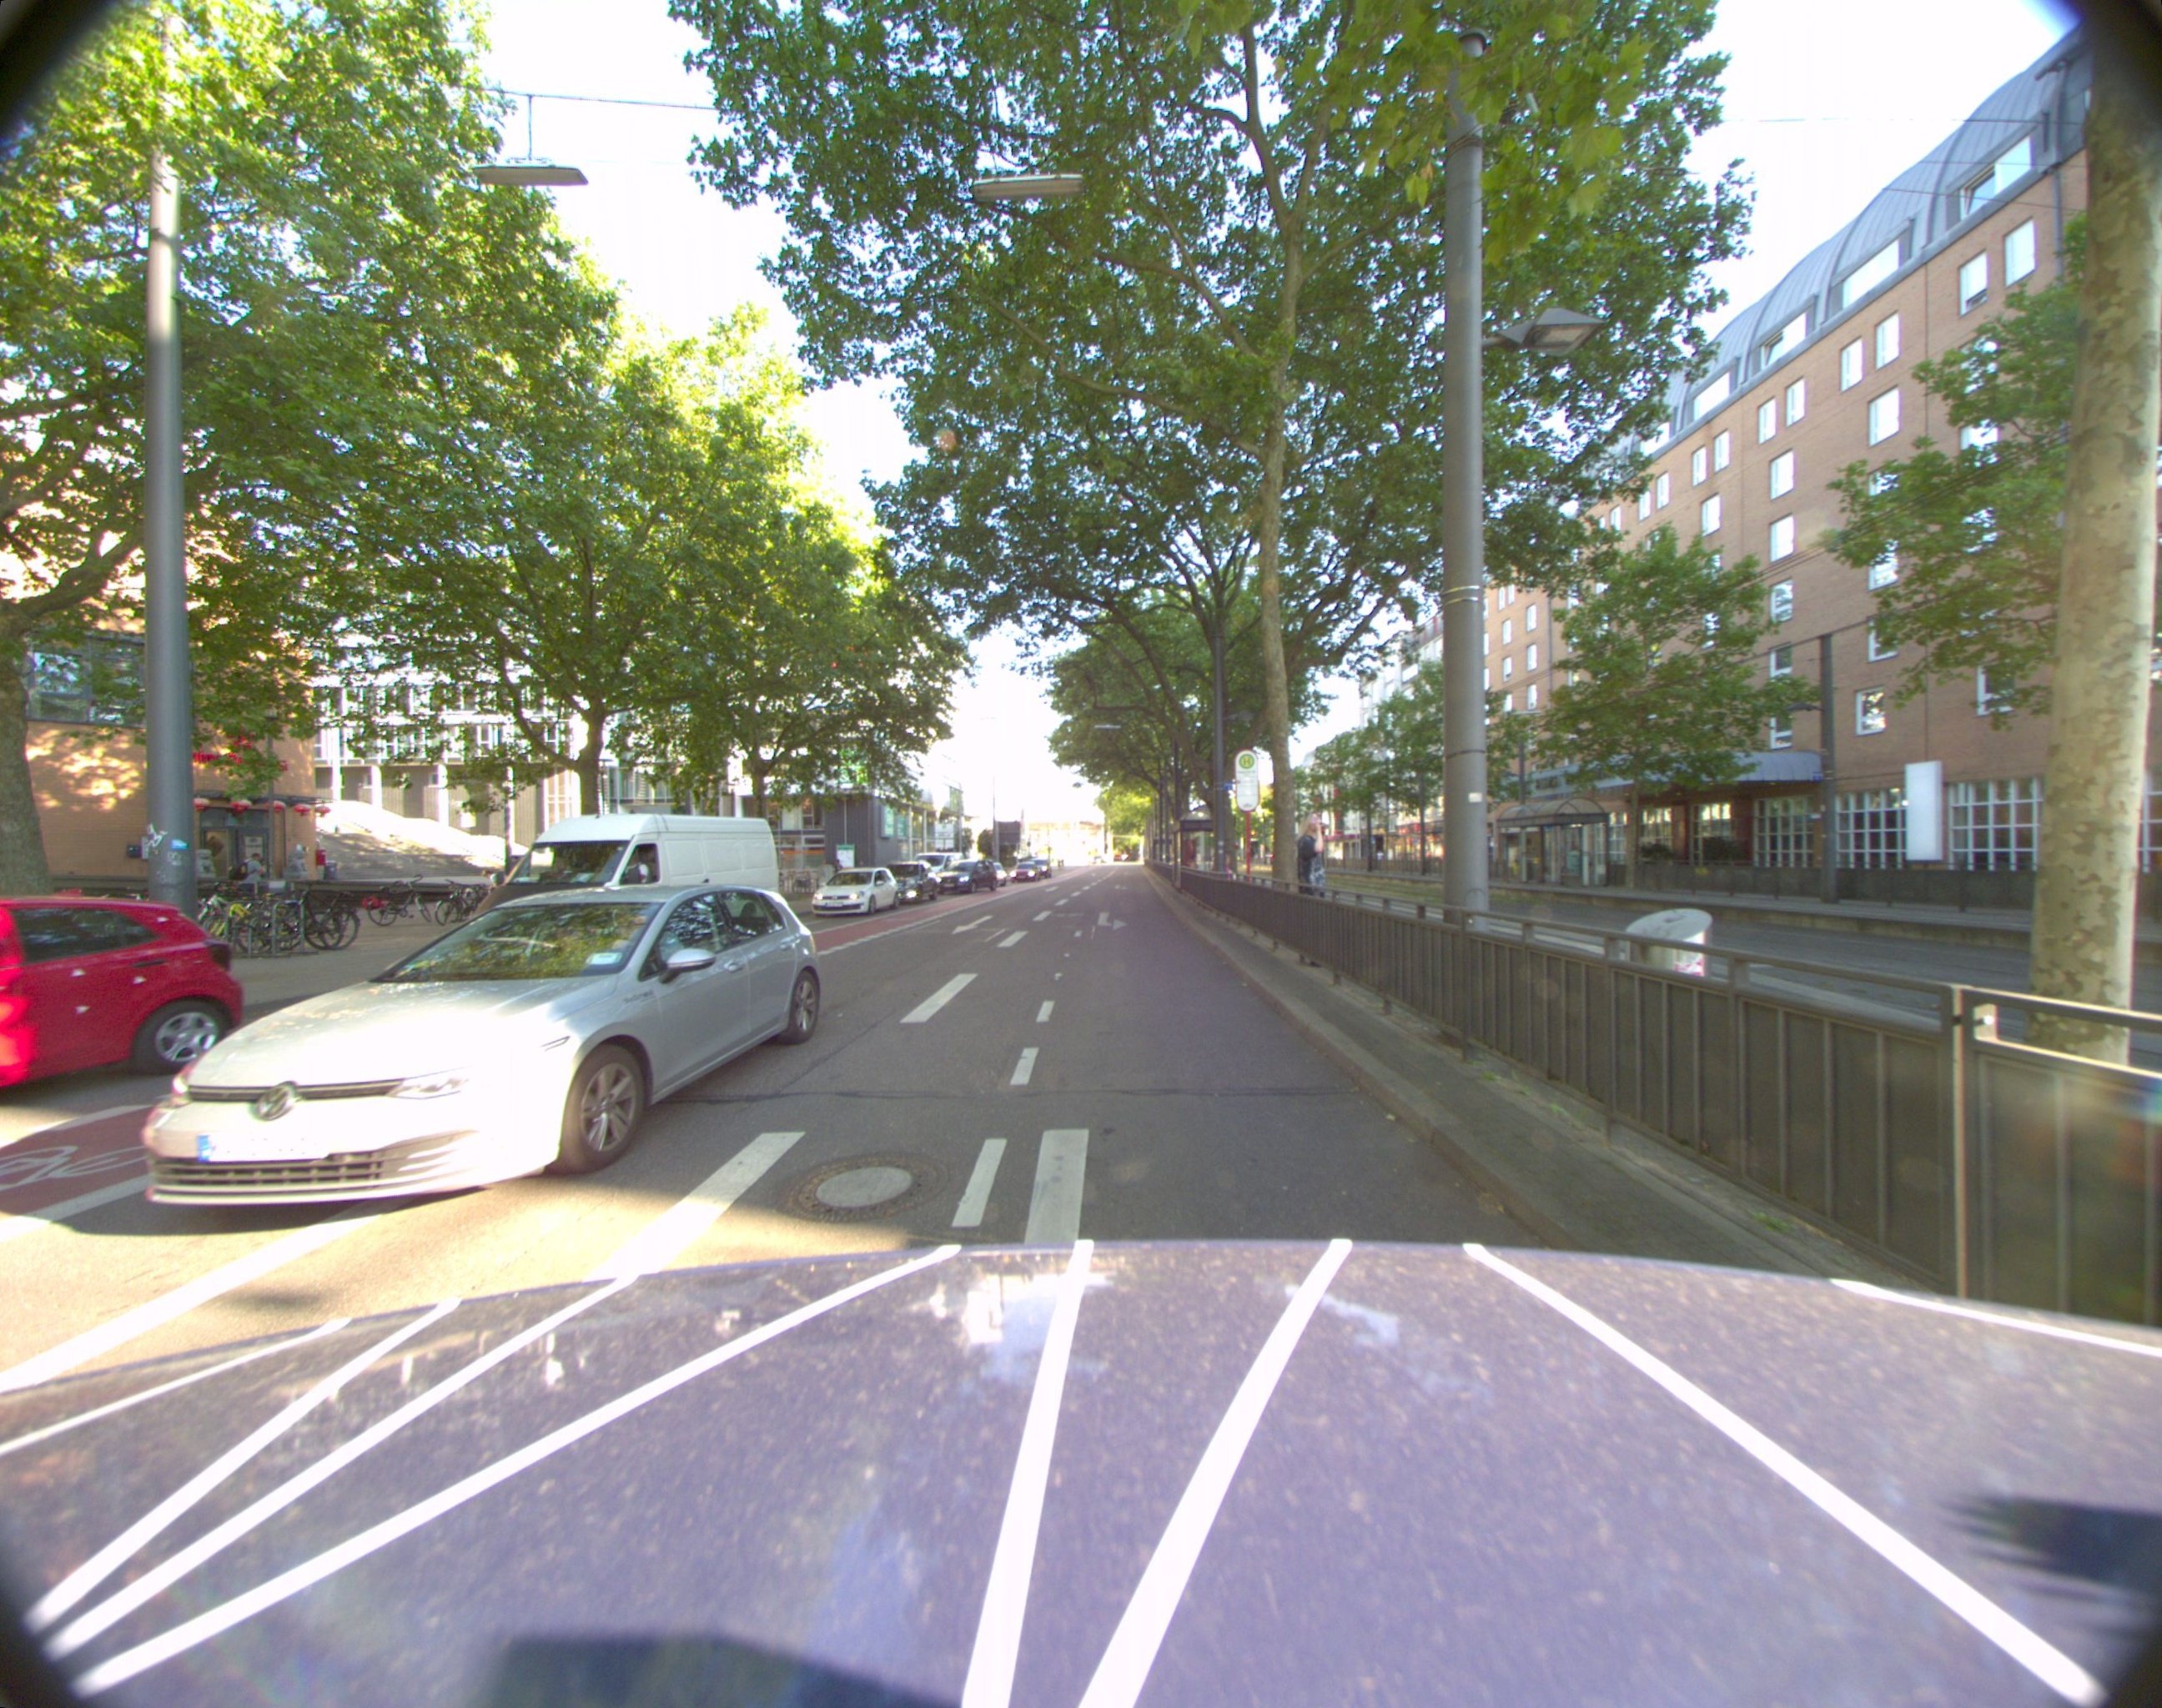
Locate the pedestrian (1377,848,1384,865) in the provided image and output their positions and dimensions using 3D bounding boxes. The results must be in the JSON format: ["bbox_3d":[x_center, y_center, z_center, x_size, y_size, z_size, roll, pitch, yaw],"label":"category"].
[{"bbox_3d":[30.932,0.292,78.373,0.504,1.725,0.574,-1,1,3],"label":"pedestrian"}]

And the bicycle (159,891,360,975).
[{"bbox_3d":[-14.058,1.306,13.142,0.751,1.155,2.398,-2,1,2],"label":"bicycle"}]

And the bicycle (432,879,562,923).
[{"bbox_3d":[-16.196,1.281,21.092,3.328,1.077,1.150,0,1,18],"label":"bicycle"}]

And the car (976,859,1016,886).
[{"bbox_3d":[-5.173,1.097,46.994,1.835,1.481,4.195,-2,0,2],"label":"car"}]

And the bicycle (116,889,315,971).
[{"bbox_3d":[-14.841,1.257,13.162,0.671,1.155,2.305,-2,1,3],"label":"bicycle"}]

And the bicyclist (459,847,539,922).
[{"bbox_3d":[-16.103,0.814,21.051,1.296,2.002,1.158,-1,1,17],"label":"bicyclist"}]

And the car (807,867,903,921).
[{"bbox_3d":[-7.050,1.203,24.116,1.639,1.420,3.987,-2,0,3],"label":"car"}]

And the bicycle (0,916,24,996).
[{"bbox_3d":[-14.230,1.337,8.107,1.050,0.996,3.412,-2,1,1],"label":"bicycle"}]

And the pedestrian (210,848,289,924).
[{"bbox_3d":[-23.078,0.871,21.105,1.013,2.002,1.016,-2,1,12],"label":"pedestrian"}]

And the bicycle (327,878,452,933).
[{"bbox_3d":[-17.843,1.294,19.715,0.699,1.193,2.700,-2,1,1],"label":"bicycle"}]

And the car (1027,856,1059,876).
[{"bbox_3d":[-3.138,1.001,63.641,1.784,1.481,4.198,-3,0,10],"label":"car"}]

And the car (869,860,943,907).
[{"bbox_3d":[-6.735,1.083,29.748,1.769,1.626,4.250,-2,0,1],"label":"car"}]

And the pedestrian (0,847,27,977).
[{"bbox_3d":[-17.077,0.895,11.463,0.934,2.002,1.091,-1,1,-25],"label":"pedestrian"}]

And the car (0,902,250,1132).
[{"bbox_3d":[-8.042,1.169,4.825,1.494,1.451,3.597,-2,0,1],"label":"car"}]

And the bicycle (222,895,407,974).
[{"bbox_3d":[-12.863,1.305,12.893,0.682,1.054,2.337,-1,1,2],"label":"bicycle"}]

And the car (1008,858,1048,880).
[{"bbox_3d":[-3.847,1.077,55.812,1.834,1.481,4.198,-3,0,10],"label":"car"}]

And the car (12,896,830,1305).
[{"bbox_3d":[-3.294,1.097,5.005,1.752,1.410,4.001,-2,-1,3],"label":"car"}]

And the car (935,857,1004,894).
[{"bbox_3d":[-5.368,1.004,37.032,1.708,1.626,4.395,-2,0,14],"label":"car"}]

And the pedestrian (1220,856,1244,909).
[{"bbox_3d":[3.894,0.730,19.606,0.542,1.310,0.524,-2,1,12],"label":"pedestrian"}]

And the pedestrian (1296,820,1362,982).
[{"bbox_3d":[2.889,0.533,8.897,0.543,1.823,0.524,-2,1,0],"label":"pedestrian"}]

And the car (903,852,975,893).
[{"bbox_3d":[-7.406,0.891,40.333,1.932,1.953,5.921,-2,0,8],"label":"car"}]

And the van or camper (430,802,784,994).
[{"bbox_3d":[-7.739,0.595,13.611,2.004,2.599,6.499,-1,0,3],"label":"van or camper"}]
